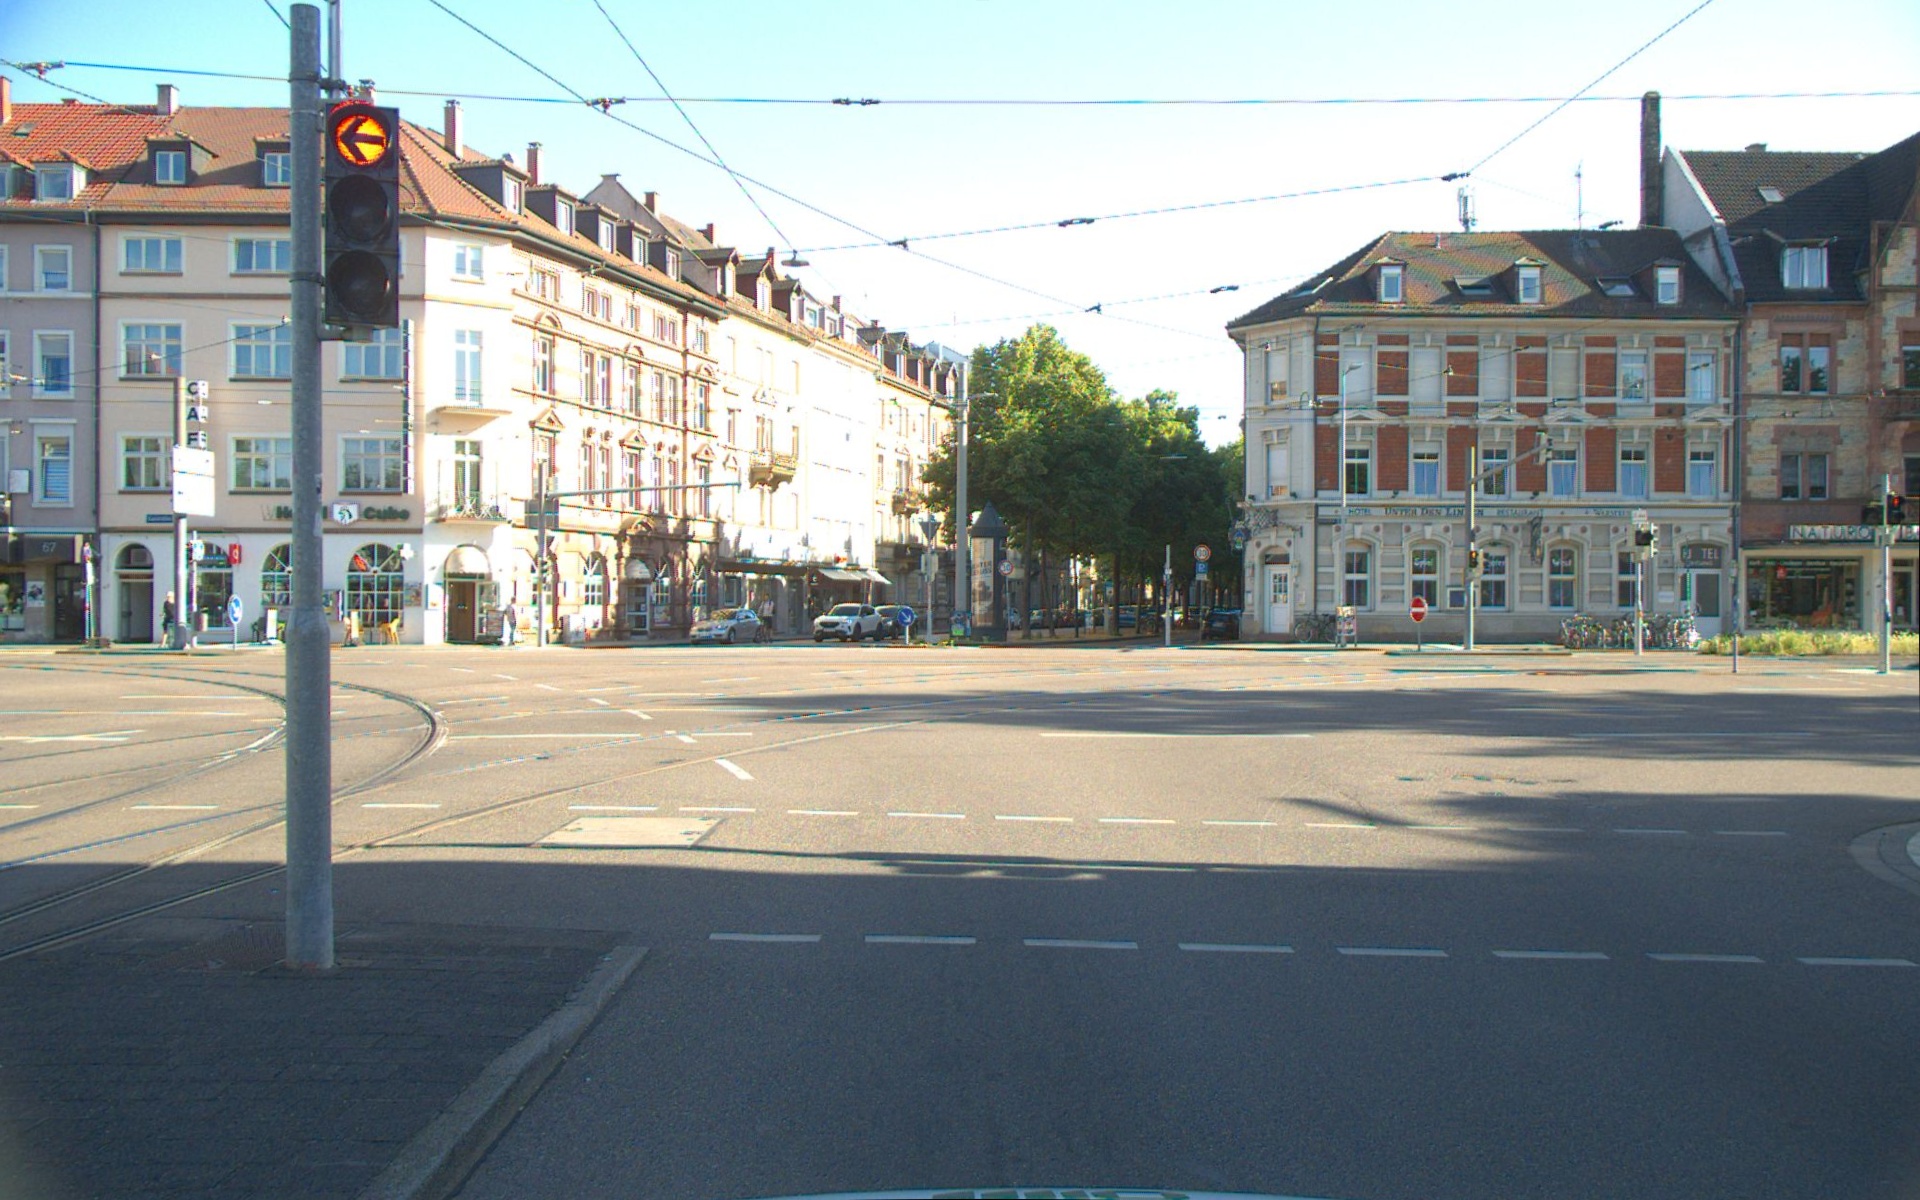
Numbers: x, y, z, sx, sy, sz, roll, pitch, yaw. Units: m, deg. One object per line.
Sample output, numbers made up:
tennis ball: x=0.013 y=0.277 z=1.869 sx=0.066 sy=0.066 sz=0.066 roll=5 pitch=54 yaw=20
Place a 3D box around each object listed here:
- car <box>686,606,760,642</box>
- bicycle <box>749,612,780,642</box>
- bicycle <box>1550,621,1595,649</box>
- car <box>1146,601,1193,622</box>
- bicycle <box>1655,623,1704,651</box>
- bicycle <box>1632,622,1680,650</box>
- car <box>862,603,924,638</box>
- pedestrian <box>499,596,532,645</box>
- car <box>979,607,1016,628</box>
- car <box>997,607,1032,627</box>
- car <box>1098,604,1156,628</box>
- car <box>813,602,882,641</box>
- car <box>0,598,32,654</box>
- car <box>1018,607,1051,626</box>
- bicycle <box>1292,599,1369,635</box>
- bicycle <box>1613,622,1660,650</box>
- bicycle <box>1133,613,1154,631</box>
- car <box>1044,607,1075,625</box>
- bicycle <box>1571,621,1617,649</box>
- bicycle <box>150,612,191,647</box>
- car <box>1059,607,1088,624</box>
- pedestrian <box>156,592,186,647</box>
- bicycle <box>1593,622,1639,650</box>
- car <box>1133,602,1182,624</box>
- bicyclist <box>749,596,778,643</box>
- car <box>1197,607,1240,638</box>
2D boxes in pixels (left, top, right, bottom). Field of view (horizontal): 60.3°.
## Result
car: x=-9.542 y=0.936 z=66.755 sx=1.642 sy=1.378 sz=3.593 roll=0 pitch=0 yaw=16
bicycle: x=-7.682 y=1.050 z=65.137 sx=0.687 sy=1.137 sz=1.636 roll=1 pitch=0 yaw=13
bicycle: x=19.761 y=1.117 z=53.379 sx=0.645 sy=0.855 sz=2.160 roll=1 pitch=0 yaw=0
car: x=16.936 y=0.892 z=133.758 sx=3.503 sy=1.677 sz=1.684 roll=0 pitch=0 yaw=16
bicycle: x=23.279 y=1.178 z=53.539 sx=0.645 sy=0.855 sz=2.160 roll=1 pitch=0 yaw=0
bicycle: x=22.490 y=1.165 z=53.493 sx=0.645 sy=0.855 sz=2.160 roll=1 pitch=0 yaw=0
car: x=-2.950 y=0.891 z=73.562 sx=1.642 sy=1.509 sz=3.950 roll=0 pitch=0 yaw=16
pedestrian: x=-15.499 y=0.714 z=57.721 sx=0.759 sy=1.699 sz=0.831 roll=1 pitch=-1 yaw=15
car: x=2.560 y=1.143 z=111.350 sx=1.642 sy=1.378 sz=3.593 roll=0 pitch=0 yaw=16
car: x=3.817 y=1.163 z=115.525 sx=1.642 sy=1.378 sz=3.593 roll=0 pitch=0 yaw=16
car: x=11.710 y=1.122 z=115.845 sx=3.819 sy=1.677 sz=1.684 roll=0 pitch=0 yaw=16
car: x=-4.537 y=0.847 z=67.237 sx=1.642 sy=1.509 sz=3.774 roll=0 pitch=0 yaw=16
car: x=-32.152 y=0.789 z=52.265 sx=4.276 sy=1.741 sz=2.306 roll=1 pitch=0 yaw=1
car: x=5.528 y=1.185 z=122.513 sx=1.642 sy=1.378 sz=3.593 roll=0 pitch=0 yaw=16
bicycle: x=12.866 y=0.597 z=57.469 sx=2.504 sy=1.194 sz=0.818 roll=1 pitch=-1 yaw=-4
bicycle: x=21.863 y=1.154 z=53.514 sx=0.645 sy=0.855 sz=2.160 roll=1 pitch=0 yaw=0
bicycle: x=11.048 y=1.302 z=99.638 sx=0.625 sy=1.039 sz=1.840 roll=1 pitch=0 yaw=-14
car: x=7.886 y=1.219 z=130.855 sx=1.642 sy=1.378 sz=3.593 roll=0 pitch=0 yaw=16
bicycle: x=20.480 y=1.130 z=53.467 sx=0.645 sy=0.855 sz=2.160 roll=1 pitch=0 yaw=0
bicycle: x=-24.785 y=0.918 z=51.924 sx=0.561 sy=1.096 sz=1.497 roll=1 pitch=0 yaw=-1
car: x=9.311 y=1.256 z=135.906 sx=1.642 sy=1.378 sz=3.593 roll=0 pitch=0 yaw=16
pedestrian: x=-24.779 y=0.618 z=51.954 sx=0.570 sy=1.699 sz=0.752 roll=1 pitch=-1 yaw=-1
bicycle: x=21.192 y=1.142 z=53.480 sx=0.645 sy=0.855 sz=2.160 roll=1 pitch=0 yaw=0
car: x=15.314 y=0.966 z=128.258 sx=3.503 sy=1.677 sz=1.684 roll=0 pitch=0 yaw=16
bicyclist: x=-7.715 y=0.770 z=65.014 sx=0.761 sy=1.834 sz=1.056 roll=1 pitch=-1 yaw=13
car: x=12.956 y=1.113 z=82.760 sx=1.642 sy=1.509 sz=3.950 roll=0 pitch=0 yaw=16
